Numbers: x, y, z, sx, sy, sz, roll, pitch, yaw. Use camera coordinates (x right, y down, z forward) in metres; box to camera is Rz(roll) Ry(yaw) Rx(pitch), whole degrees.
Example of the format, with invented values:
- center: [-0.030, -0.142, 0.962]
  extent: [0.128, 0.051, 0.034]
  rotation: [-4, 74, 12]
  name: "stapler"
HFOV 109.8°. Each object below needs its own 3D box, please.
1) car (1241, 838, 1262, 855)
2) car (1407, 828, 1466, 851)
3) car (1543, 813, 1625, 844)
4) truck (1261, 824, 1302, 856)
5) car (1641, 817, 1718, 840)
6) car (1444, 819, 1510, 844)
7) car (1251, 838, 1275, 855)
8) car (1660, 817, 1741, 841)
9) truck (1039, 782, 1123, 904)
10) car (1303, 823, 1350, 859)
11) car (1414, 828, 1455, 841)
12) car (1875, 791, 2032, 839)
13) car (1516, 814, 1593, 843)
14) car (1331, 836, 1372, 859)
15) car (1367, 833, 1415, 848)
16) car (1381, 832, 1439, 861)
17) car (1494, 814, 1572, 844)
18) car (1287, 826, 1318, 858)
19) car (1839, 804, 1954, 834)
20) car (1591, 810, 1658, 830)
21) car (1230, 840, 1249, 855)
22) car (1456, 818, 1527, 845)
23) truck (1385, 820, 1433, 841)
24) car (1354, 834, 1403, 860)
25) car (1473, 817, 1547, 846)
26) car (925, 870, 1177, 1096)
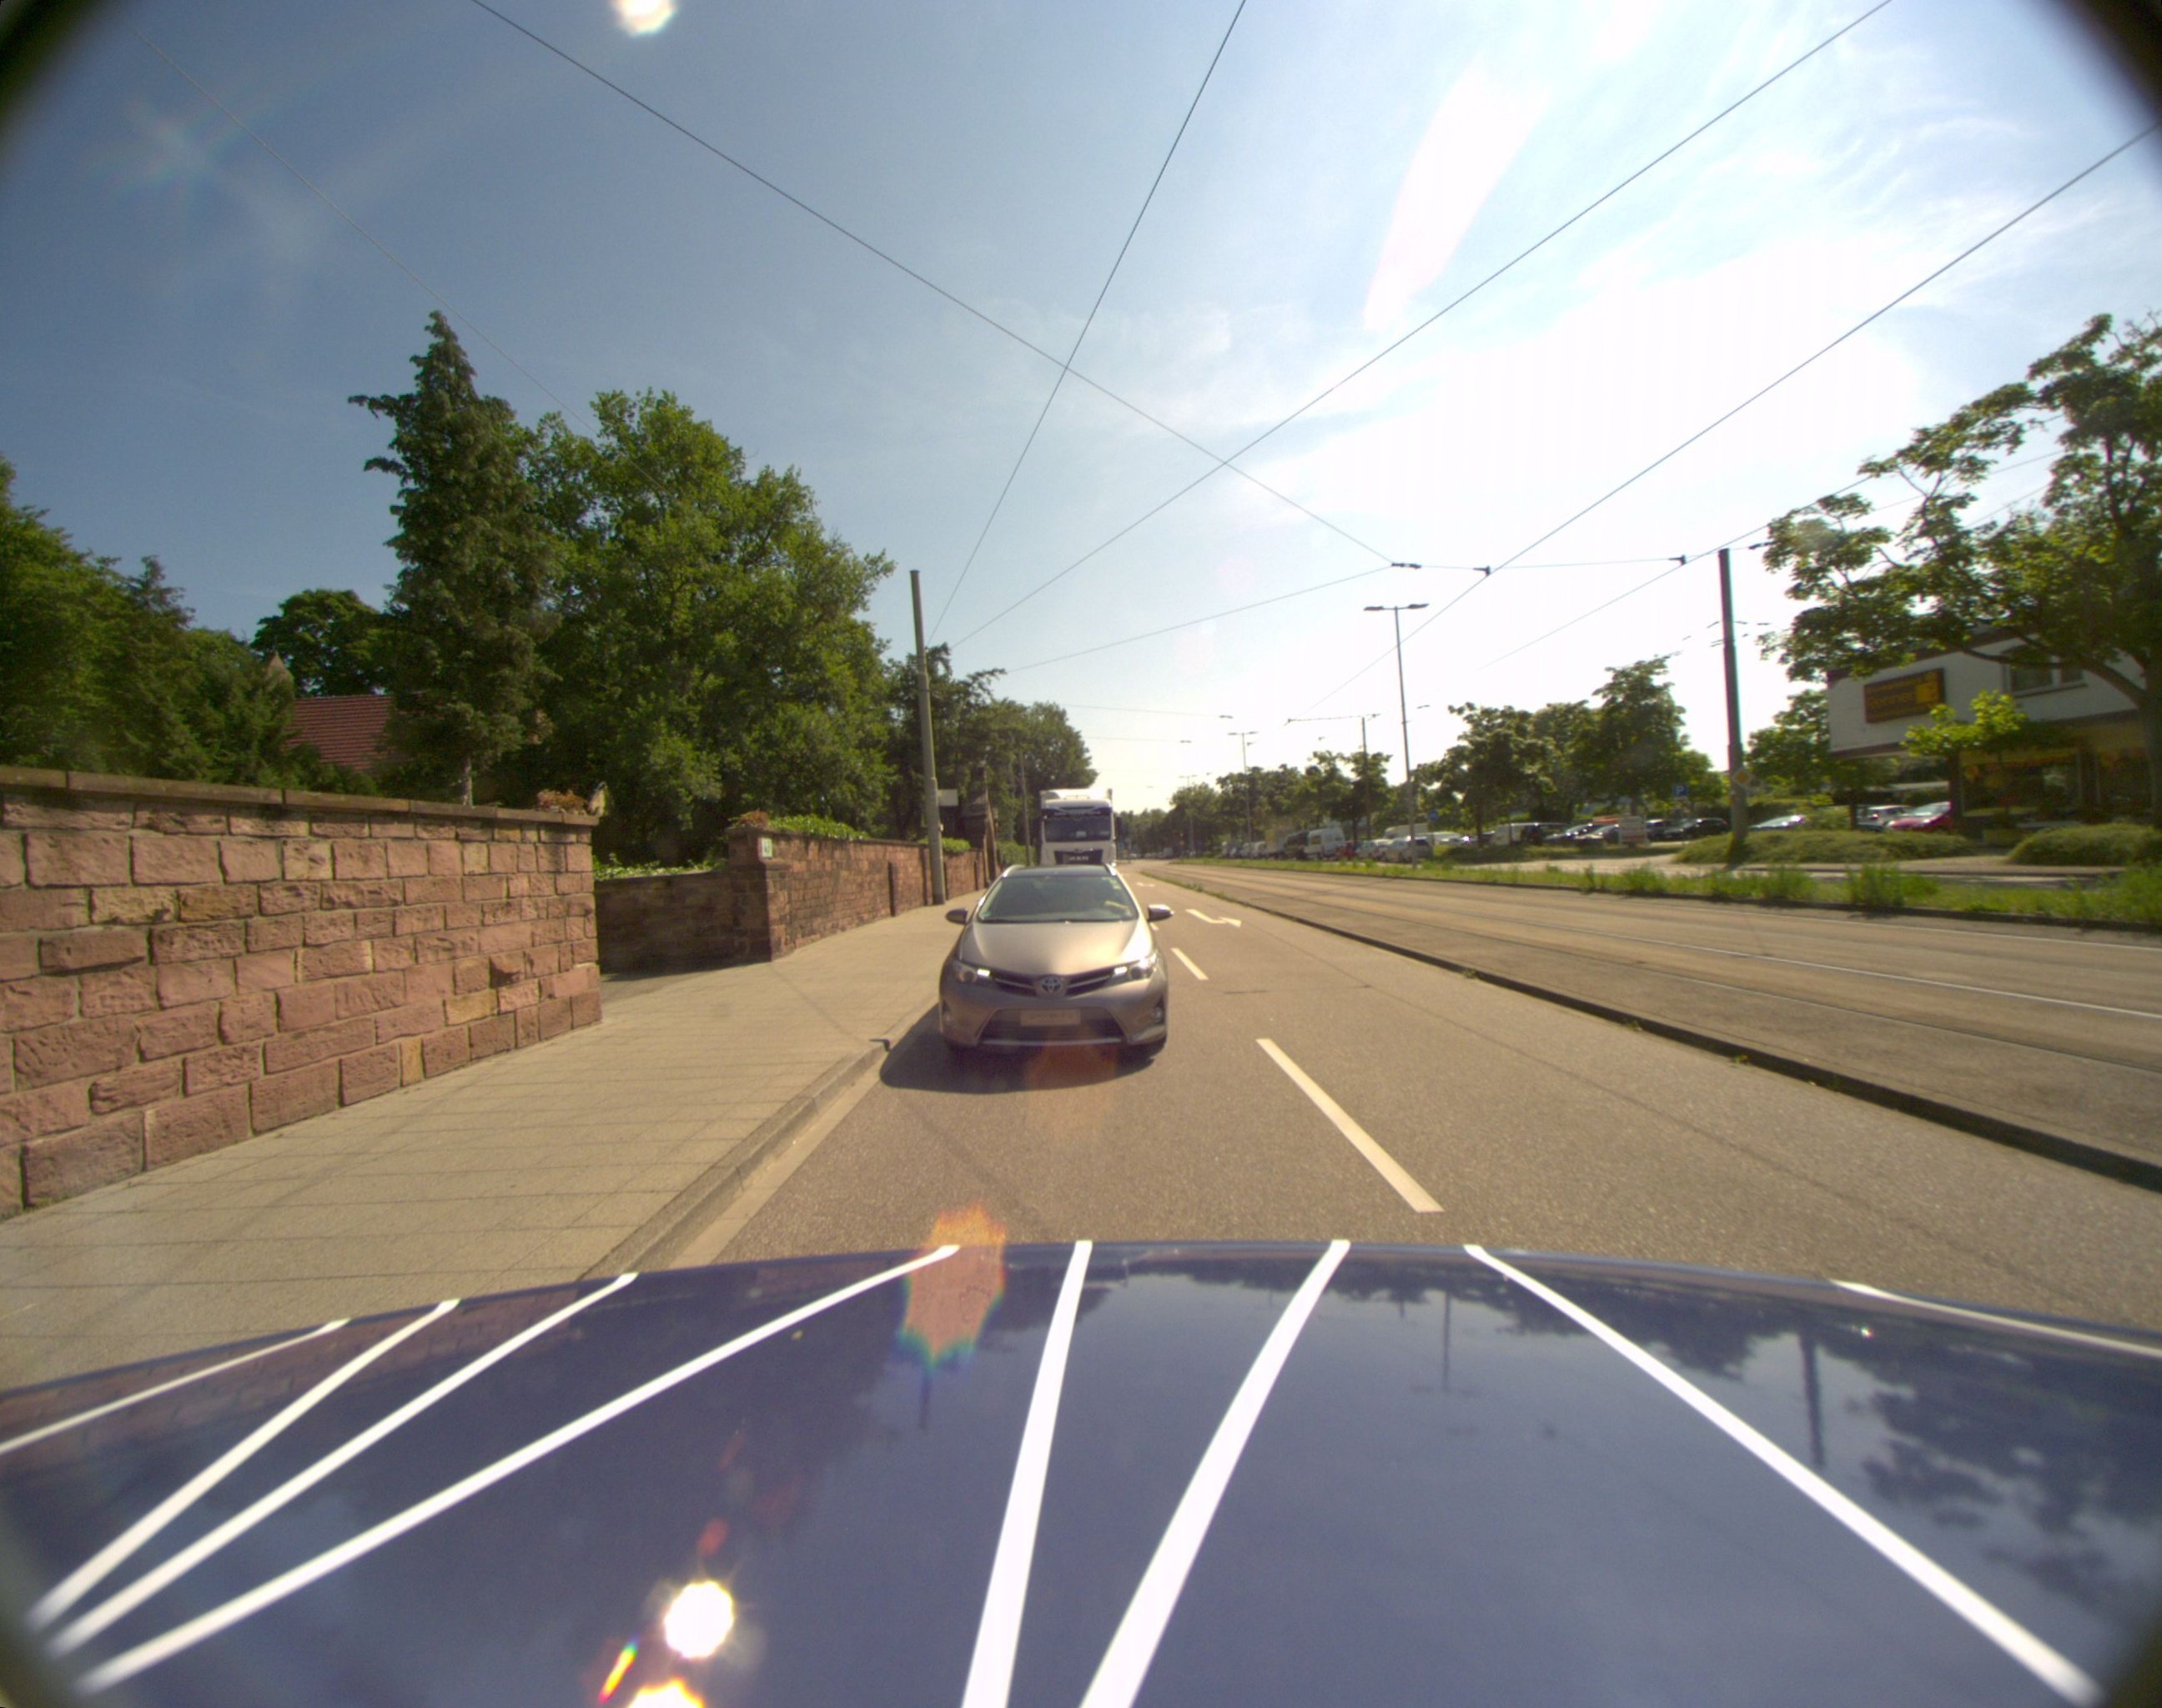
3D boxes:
- center: [20.954, -0.922, 93.307]
  extent: [1.502, 1.835, 4.059]
  rotation: [-6, 0, 0]
  name: "car"
- center: [31.211, -1.257, 66.960]
  extent: [2.594, 1.800, 5.741]
  rotation: [-4, 0, 2]
  name: "car"
- center: [30.538, -1.534, 46.195]
  extent: [3.810, 1.625, 1.676]
  rotation: [-4, 0, 2]
  name: "car"
- center: [20.496, -1.398, 78.052]
  extent: [2.508, 2.917, 5.903]
  rotation: [-6, 0, 2]
  name: "truck"
- center: [44.244, -1.869, 56.214]
  extent: [4.252, 1.327, 1.676]
  rotation: [-4, 0, 2]
  name: "car"
- center: [31.266, -1.763, 60.057]
  extent: [4.117, 1.728, 1.990]
  rotation: [-4, 0, -2]
  name: "car"
- center: [20.712, -0.829, 86.387]
  extent: [1.502, 1.793, 4.633]
  rotation: [-6, 0, 1]
  name: "car"
- center: [43.901, -1.761, 53.905]
  extent: [4.252, 1.327, 1.676]
  rotation: [-4, 0, 2]
  name: "car"
- center: [0.088, -0.403, 29.443]
  extent: [2.628, 3.906, 9.285]
  rotation: [-2, 1, 1]
  name: "truck"
- center: [20.268, -1.033, 63.035]
  extent: [2.062, 2.638, 5.203]
  rotation: [-6, 0, 1]
  name: "car"
- center: [43.796, -2.427, 94.113]
  extent: [4.253, 1.327, 1.676]
  rotation: [-4, 0, 1]
  name: "car"
- center: [35.238, -1.548, 30.759]
  extent: [4.252, 1.595, 1.676]
  rotation: [-4, 0, 2]
  name: "car"
- center: [30.604, -1.621, 49.186]
  extent: [3.810, 1.625, 1.676]
  rotation: [-4, 0, 2]
  name: "car"
- center: [20.495, -0.489, 57.749]
  extent: [1.675, 1.524, 3.793]
  rotation: [-6, 0, 1]
  name: "car"
- center: [32.368, -1.416, 79.476]
  extent: [4.253, 1.327, 1.676]
  rotation: [-4, 0, 1]
  name: "car"
- center: [20.322, -0.430, 47.164]
  extent: [1.675, 1.524, 4.256]
  rotation: [-6, 0, 1]
  name: "car"
- center: [30.760, -1.690, 51.791]
  extent: [4.117, 1.728, 1.990]
  rotation: [-4, 0, -2]
  name: "car"
- center: [20.114, -1.057, 69.126]
  extent: [1.502, 2.609, 4.007]
  rotation: [-6, 0, 1]
  name: "car"
- center: [44.247, -1.885, 41.292]
  extent: [4.252, 1.327, 1.676]
  rotation: [-4, 0, 2]
  name: "car"
- center: [44.014, -2.743, 61.587]
  extent: [4.254, 1.327, 1.676]
  rotation: [-4, 0, -1]
  name: "car"
- center: [20.691, -0.832, 99.160]
  extent: [1.502, 1.775, 3.687]
  rotation: [-6, 0, 0]
  name: "car"
- center: [30.622, -1.644, 56.726]
  extent: [4.117, 1.728, 1.990]
  rotation: [-4, 0, -2]
  name: "car"
- center: [44.933, -3.202, 104.206]
  extent: [5.652, 2.367, 1.990]
  rotation: [-4, 0, -2]
  name: "truck"
- center: [20.511, -0.464, 52.572]
  extent: [1.675, 1.524, 4.256]
  rotation: [-6, 0, 1]
  name: "car"
- center: [30.566, -1.575, 54.220]
  extent: [4.117, 1.728, 1.990]
  rotation: [-4, 0, -2]
  name: "car"
- center: [-0.182, 0.912, 7.122]
  extent: [1.654, 1.374, 4.000]
  rotation: [-2, 0, 1]
  name: "car"
